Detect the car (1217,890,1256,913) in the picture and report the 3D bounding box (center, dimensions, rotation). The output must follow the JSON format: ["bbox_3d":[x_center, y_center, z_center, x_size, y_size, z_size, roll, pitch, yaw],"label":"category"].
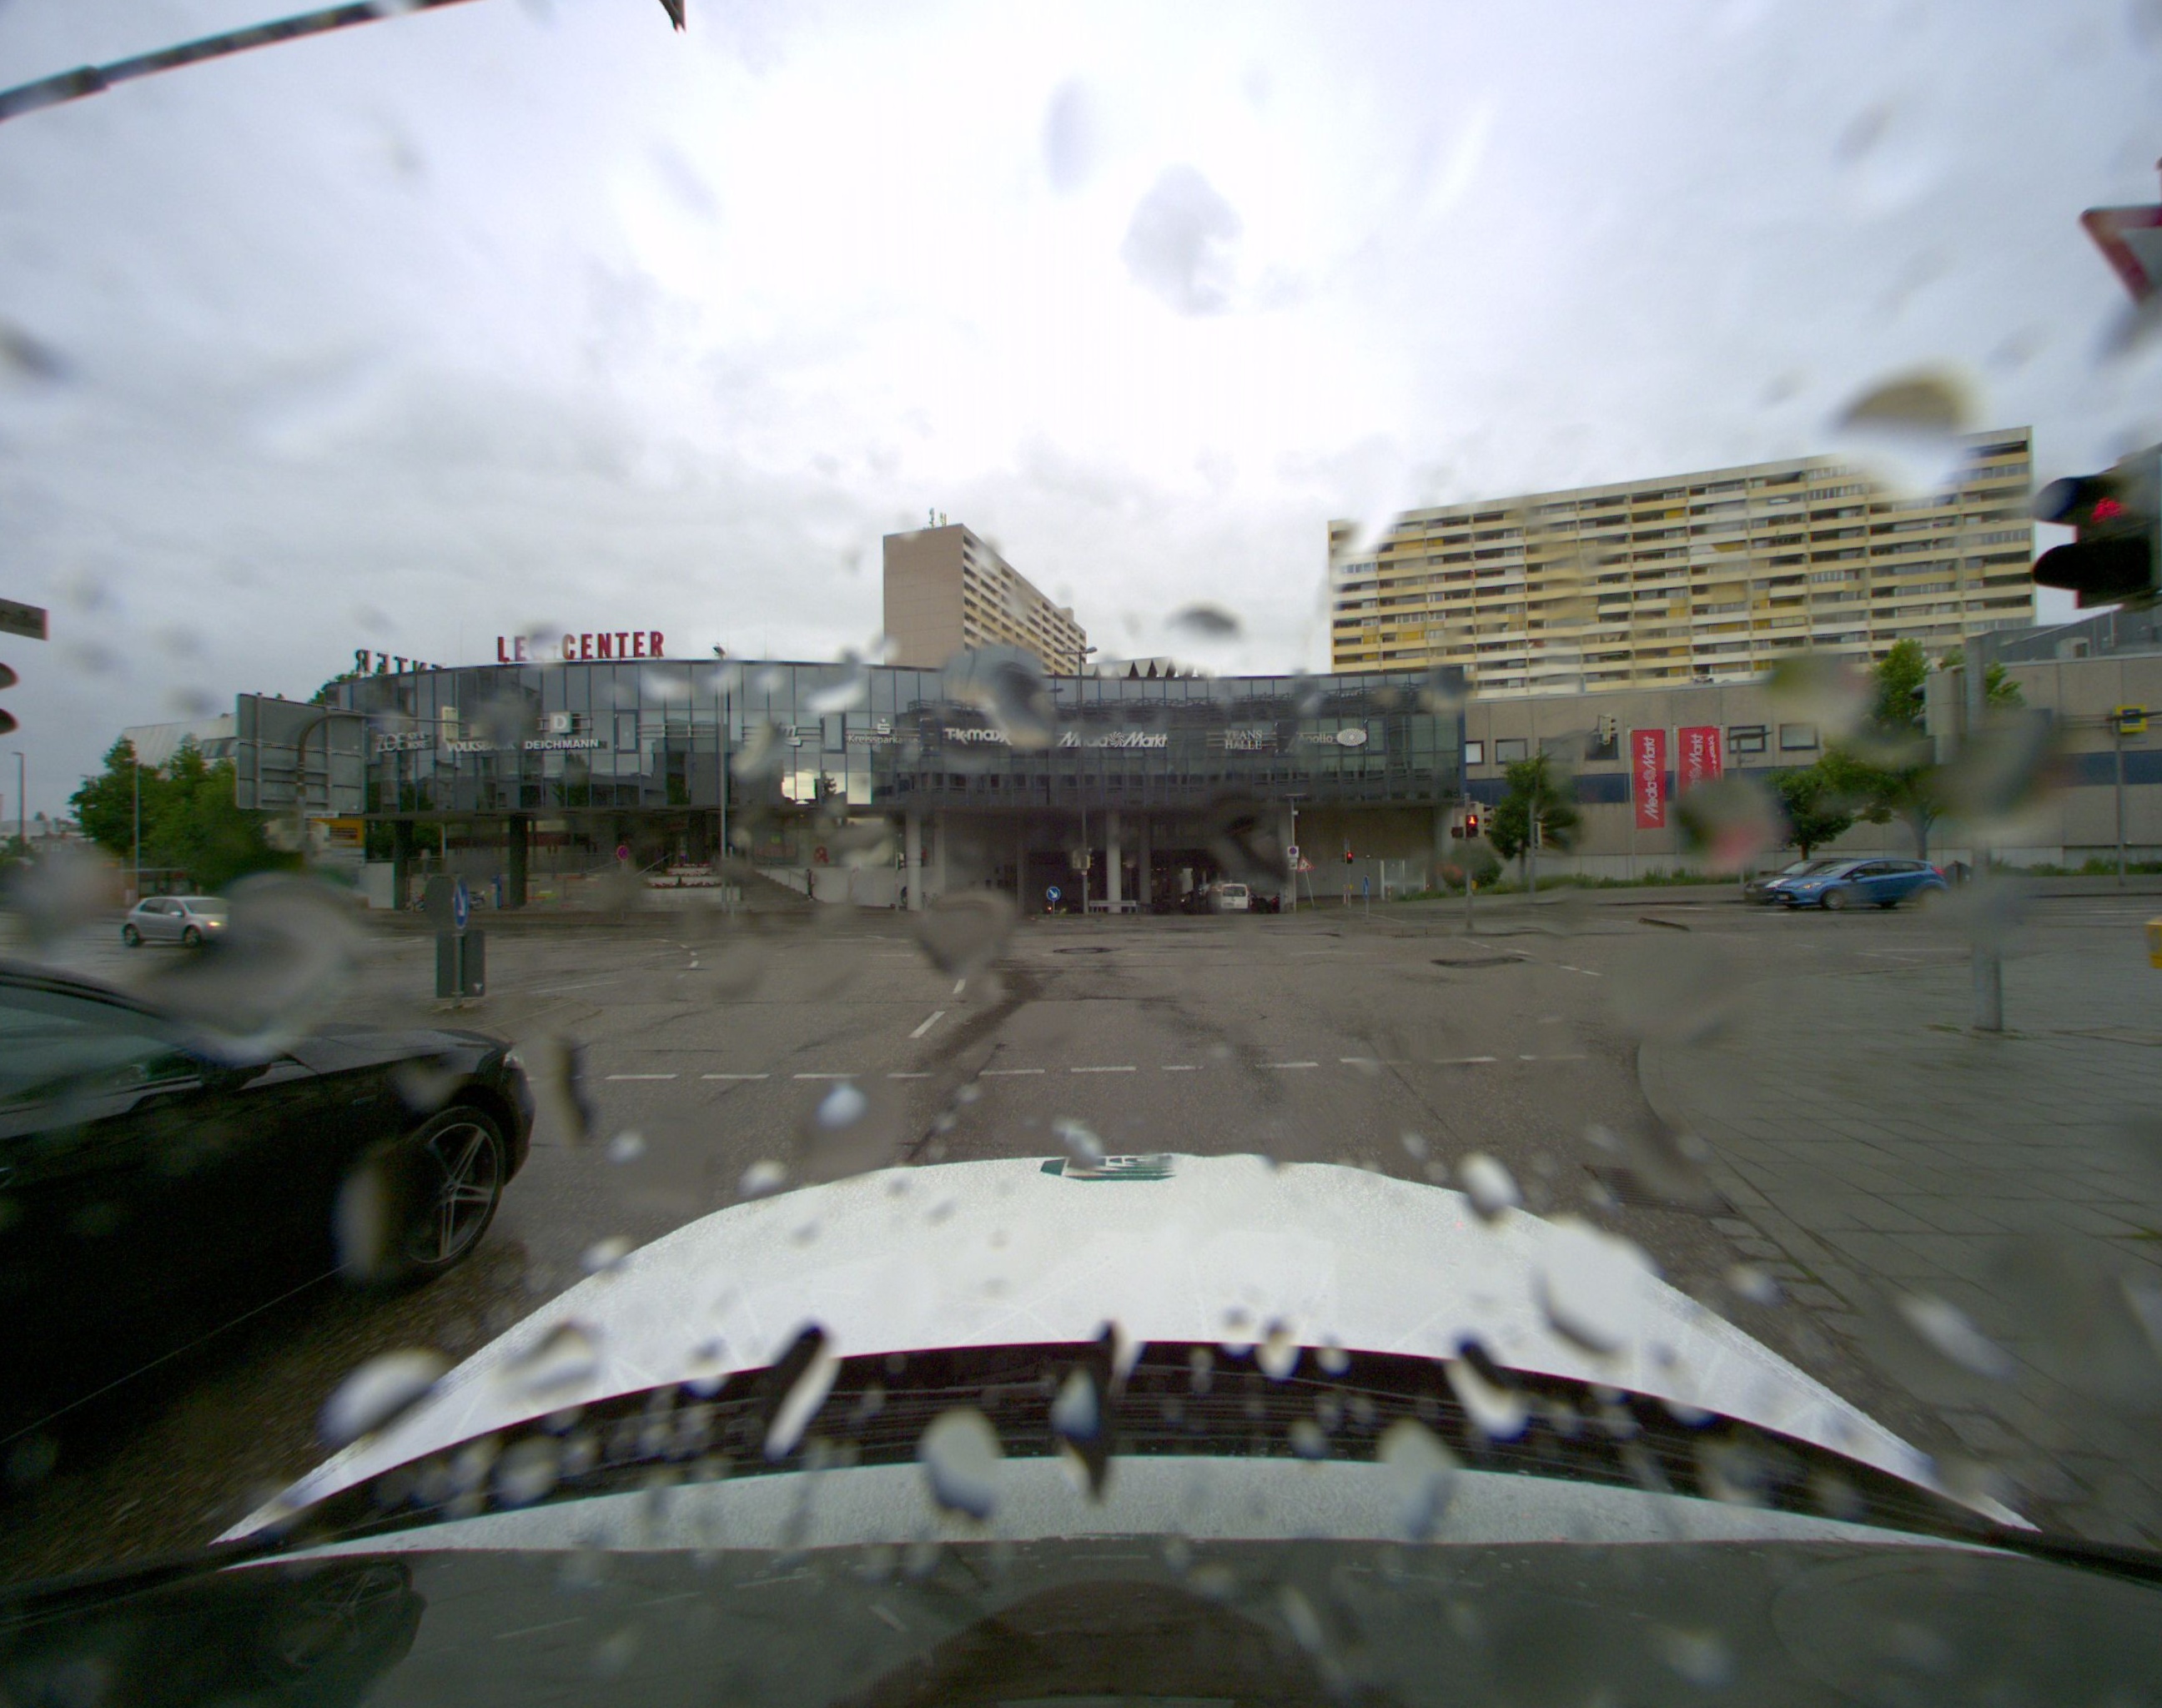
[{"bbox_3d":[10.205,3.132,53.228,1.742,1.464,3.962,-3,-5,21],"label":"car"}]

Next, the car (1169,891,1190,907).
[{"bbox_3d":[11.971,5.431,98.658,1.978,1.664,4.016,0,-1,16],"label":"car"}]

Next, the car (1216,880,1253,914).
[{"bbox_3d":[8.590,2.373,45.444,1.913,1.798,4.309,-2,-3,11],"label":"car"}]

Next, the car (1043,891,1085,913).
[{"bbox_3d":[-1.204,3.521,59.252,1.878,1.470,4.043,-2,-5,17],"label":"car"}]

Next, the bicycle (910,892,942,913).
[{"bbox_3d":[-8.603,2.693,45.232,1.591,1.018,0.448,6,-4,-30],"label":"bicycle"}]

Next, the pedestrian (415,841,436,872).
[{"bbox_3d":[-36.768,0.153,45.688,0.592,1.714,0.658,0,-1,23],"label":"pedestrian"}]

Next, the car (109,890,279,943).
[{"bbox_3d":[-26.646,1.855,24.501,3.951,1.441,1.753,-1,-1,14],"label":"car"}]

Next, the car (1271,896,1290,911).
[{"bbox_3d":[21.509,5.329,87.715,1.874,1.491,3.855,0,-1,14],"label":"car"}]

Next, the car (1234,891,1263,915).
[{"bbox_3d":[11.941,3.497,57.902,1.620,1.612,4.279,-2,-4,16],"label":"car"}]

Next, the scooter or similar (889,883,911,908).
[{"bbox_3d":[-9.994,2.296,44.923,1.168,1.373,0.486,1,-1,-15],"label":"scooter or similar"}]

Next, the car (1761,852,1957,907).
[{"bbox_3d":[22.534,0.740,23.735,3.820,1.397,1.683,-3,-2,8],"label":"car"}]

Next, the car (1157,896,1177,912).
[{"bbox_3d":[9.852,5.678,92.688,1.824,1.728,4.012,-1,-2,12],"label":"car"}]

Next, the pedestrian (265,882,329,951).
[{"bbox_3d":[-19.221,1.516,19.973,0.941,1.623,0.813,-2,-1,21],"label":"pedestrian"}]

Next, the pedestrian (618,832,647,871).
[{"bbox_3d":[-23.708,-0.125,43.052,0.823,2.014,0.957,0,-1,19],"label":"pedestrian"}]

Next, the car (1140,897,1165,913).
[{"bbox_3d":[7.740,5.517,88.022,1.900,1.588,3.955,-2,-2,16],"label":"car"}]

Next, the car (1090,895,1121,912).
[{"bbox_3d":[2.131,4.316,71.163,1.757,1.464,3.891,-2,-4,16],"label":"car"}]

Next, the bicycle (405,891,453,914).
[{"bbox_3d":[-33.863,2.523,42.309,0.622,1.033,1.864,-2,1,19],"label":"bicycle"}]

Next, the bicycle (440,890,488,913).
[{"bbox_3d":[-31.576,2.440,41.705,0.625,1.023,1.864,-2,1,19],"label":"bicycle"}]

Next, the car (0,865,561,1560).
[{"bbox_3d":[-3.200,0.806,1.690,1.658,1.481,4.092,1,0,-1],"label":"car"}]

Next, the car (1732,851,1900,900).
[{"bbox_3d":[23.920,0.709,26.624,3.662,1.395,1.749,-3,-2,10],"label":"car"}]

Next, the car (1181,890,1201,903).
[{"bbox_3d":[14.333,5.574,106.424,1.978,1.464,4.016,-2,-2,16],"label":"car"}]

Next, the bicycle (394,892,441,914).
[{"bbox_3d":[-34.553,2.529,42.426,0.530,0.951,1.865,0,2,22],"label":"bicycle"}]

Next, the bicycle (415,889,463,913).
[{"bbox_3d":[-33.150,2.421,42.084,0.640,1.042,1.864,-2,1,19],"label":"bicycle"}]

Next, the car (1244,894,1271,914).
[{"bbox_3d":[13.610,3.824,62.640,1.766,1.400,4.016,-2,-4,16],"label":"car"}]

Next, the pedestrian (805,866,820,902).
[{"bbox_3d":[-14.423,1.626,43.832,0.655,1.908,0.593,0,-1,-8],"label":"pedestrian"}]
